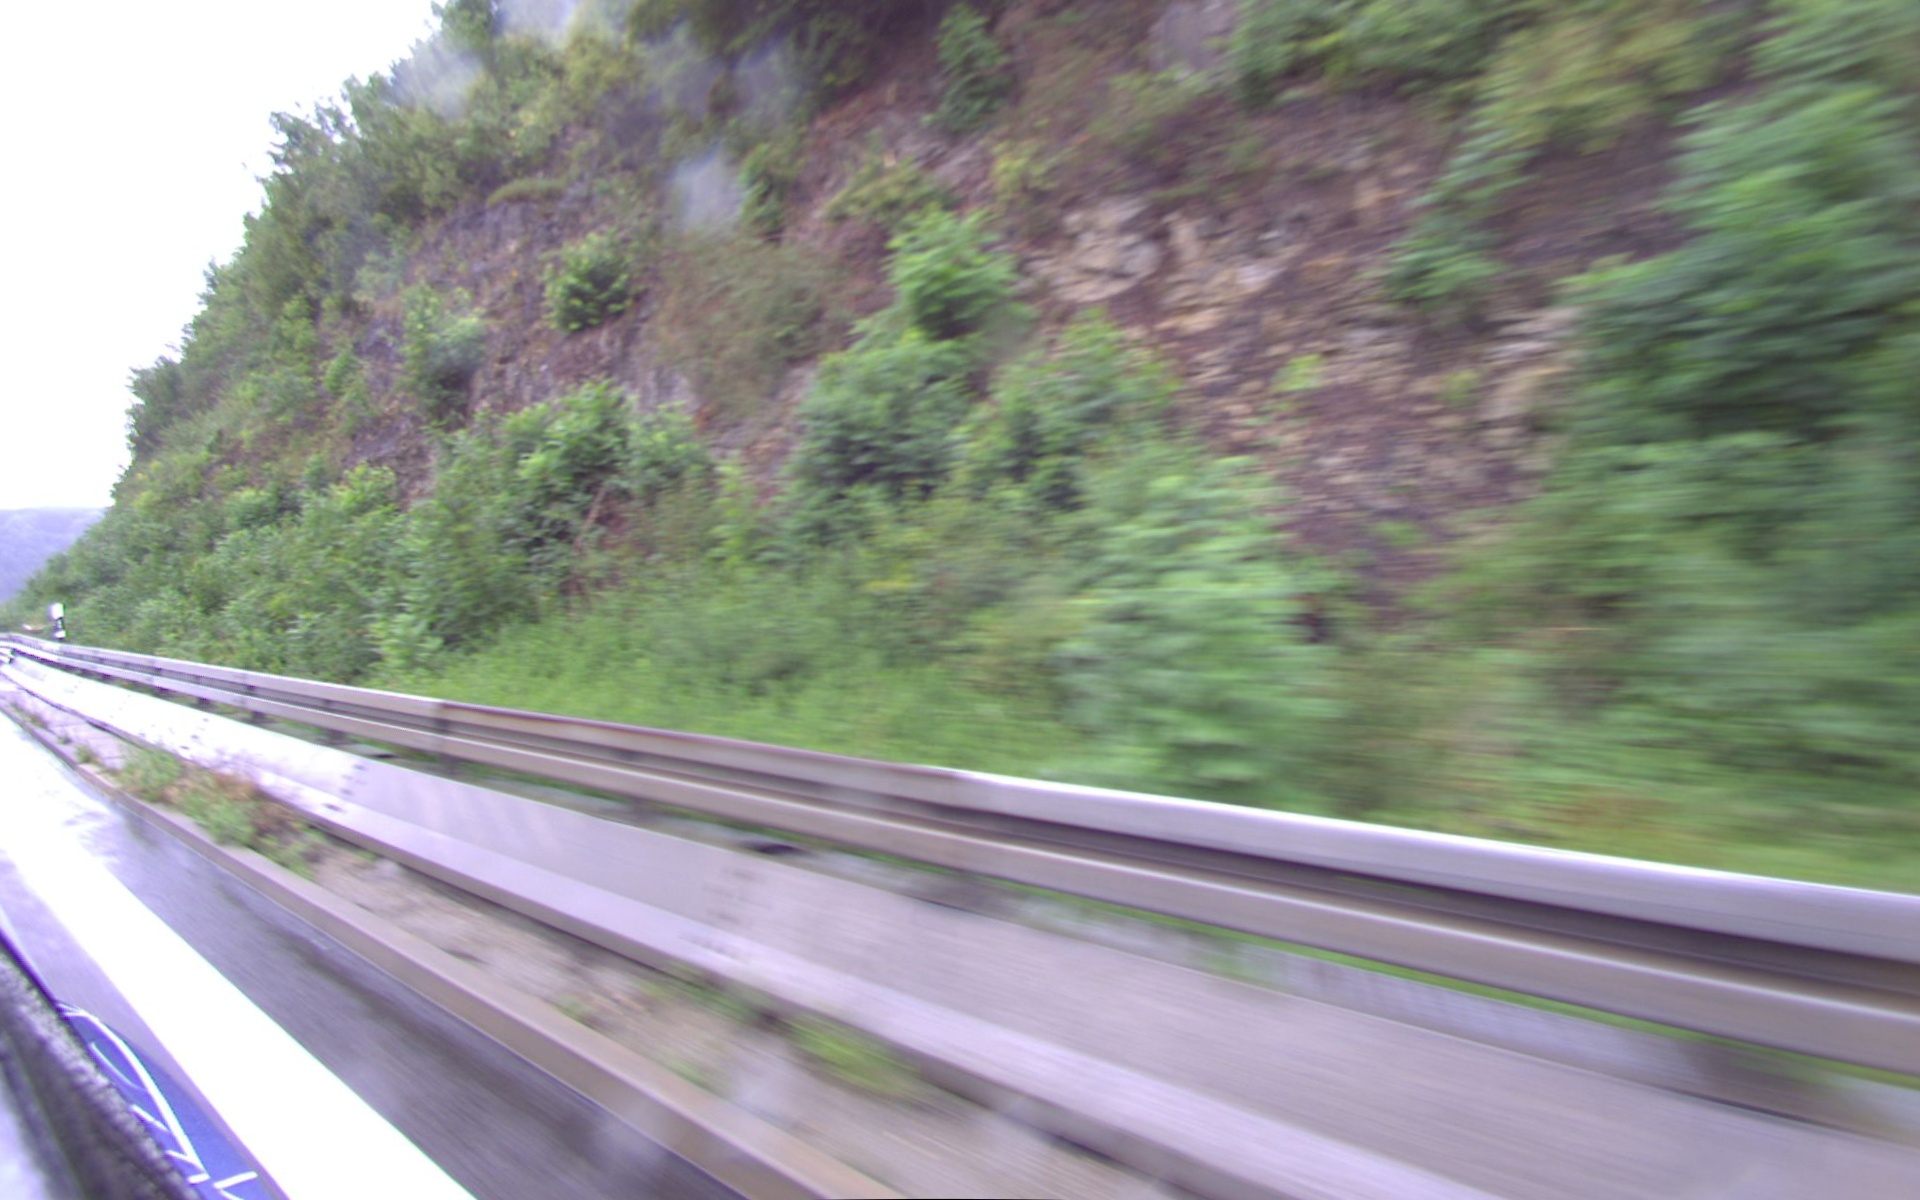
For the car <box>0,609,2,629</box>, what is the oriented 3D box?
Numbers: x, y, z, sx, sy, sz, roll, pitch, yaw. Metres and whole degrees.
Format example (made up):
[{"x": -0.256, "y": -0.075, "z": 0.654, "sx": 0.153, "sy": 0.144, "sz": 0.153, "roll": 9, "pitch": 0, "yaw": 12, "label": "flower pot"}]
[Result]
[{"x": -91.657, "y": 1.811, "z": 95.690, "sx": 1.569, "sy": 1.920, "sz": 3.757, "roll": -1, "pitch": 0, "yaw": -43, "label": "car"}]
